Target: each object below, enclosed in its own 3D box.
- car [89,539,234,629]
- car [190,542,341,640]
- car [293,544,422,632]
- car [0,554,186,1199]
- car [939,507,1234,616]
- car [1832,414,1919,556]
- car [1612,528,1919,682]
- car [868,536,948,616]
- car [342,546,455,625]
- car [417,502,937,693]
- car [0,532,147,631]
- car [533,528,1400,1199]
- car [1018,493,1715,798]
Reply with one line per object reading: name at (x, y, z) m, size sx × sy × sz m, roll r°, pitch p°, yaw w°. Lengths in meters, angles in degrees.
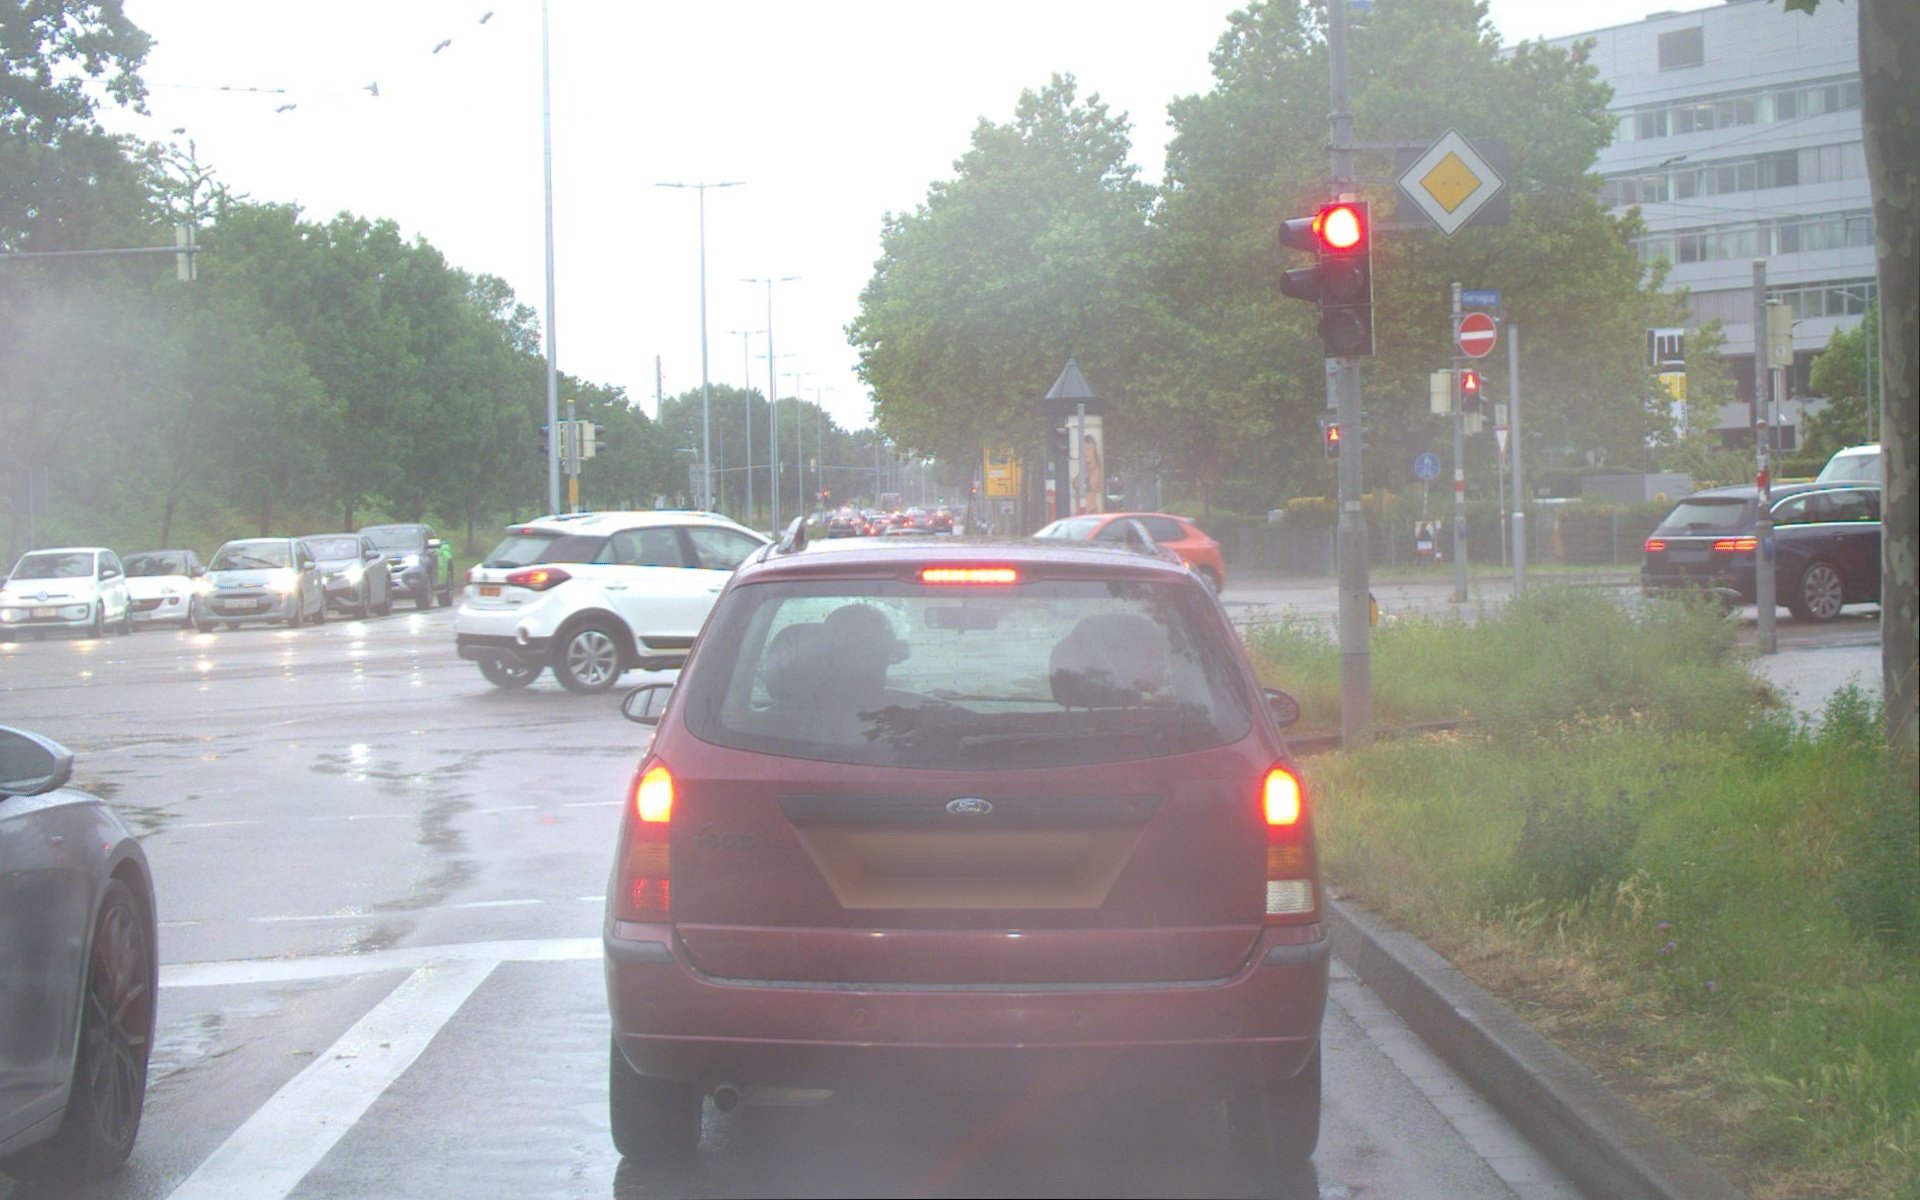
car at (-14.514, -0.320, 62.683) m, size 1.712 × 1.525 × 4.000 m, roll -1°, pitch 1°, yaw -1°
car at (-11.551, -0.177, 57.366) m, size 1.712 × 1.525 × 4.000 m, roll -1°, pitch 1°, yaw -1°
car at (-11.219, -0.254, 64.221) m, size 1.712 × 1.525 × 4.000 m, roll -1°, pitch 1°, yaw -1°
car at (-2.701, 0.648, 6.034) m, size 1.690 × 1.428 × 4.574 m, roll 0°, pitch 1°, yaw -1°
car at (1.819, -0.557, 48.775) m, size 3.988 × 1.424 × 1.717 m, roll -2°, pitch 2°, yaw -38°
car at (16.211, -1.934, 55.160) m, size 4.374 × 2.183 × 1.802 m, roll -5°, pitch 3°, yaw -35°
car at (9.403, 0.009, 37.403) m, size 4.372 × 1.532 × 1.802 m, roll -2°, pitch 1°, yaw -29°
car at (-1.358, -0.655, 89.993) m, size 1.993 × 2.007 × 4.000 m, roll -1°, pitch 1°, yaw -1°
car at (-11.681, -0.326, 71.710) m, size 1.712 × 1.525 × 4.000 m, roll -1°, pitch 1°, yaw -1°
car at (-2.470, -0.056, 30.199) m, size 4.050 × 1.515 × 2.000 m, roll -2°, pitch 1°, yaw -31°
car at (-14.610, -0.331, 56.143) m, size 1.712 × 1.525 × 4.000 m, roll -1°, pitch 1°, yaw -1°
car at (-0.013, 0.585, 9.372) m, size 1.796 × 1.532 × 4.387 m, roll 1°, pitch 1°, yaw -1°
car at (2.631, 0.198, 21.588) m, size 4.375 × 1.531 × 1.801 m, roll -5°, pitch 4°, yaw -40°
